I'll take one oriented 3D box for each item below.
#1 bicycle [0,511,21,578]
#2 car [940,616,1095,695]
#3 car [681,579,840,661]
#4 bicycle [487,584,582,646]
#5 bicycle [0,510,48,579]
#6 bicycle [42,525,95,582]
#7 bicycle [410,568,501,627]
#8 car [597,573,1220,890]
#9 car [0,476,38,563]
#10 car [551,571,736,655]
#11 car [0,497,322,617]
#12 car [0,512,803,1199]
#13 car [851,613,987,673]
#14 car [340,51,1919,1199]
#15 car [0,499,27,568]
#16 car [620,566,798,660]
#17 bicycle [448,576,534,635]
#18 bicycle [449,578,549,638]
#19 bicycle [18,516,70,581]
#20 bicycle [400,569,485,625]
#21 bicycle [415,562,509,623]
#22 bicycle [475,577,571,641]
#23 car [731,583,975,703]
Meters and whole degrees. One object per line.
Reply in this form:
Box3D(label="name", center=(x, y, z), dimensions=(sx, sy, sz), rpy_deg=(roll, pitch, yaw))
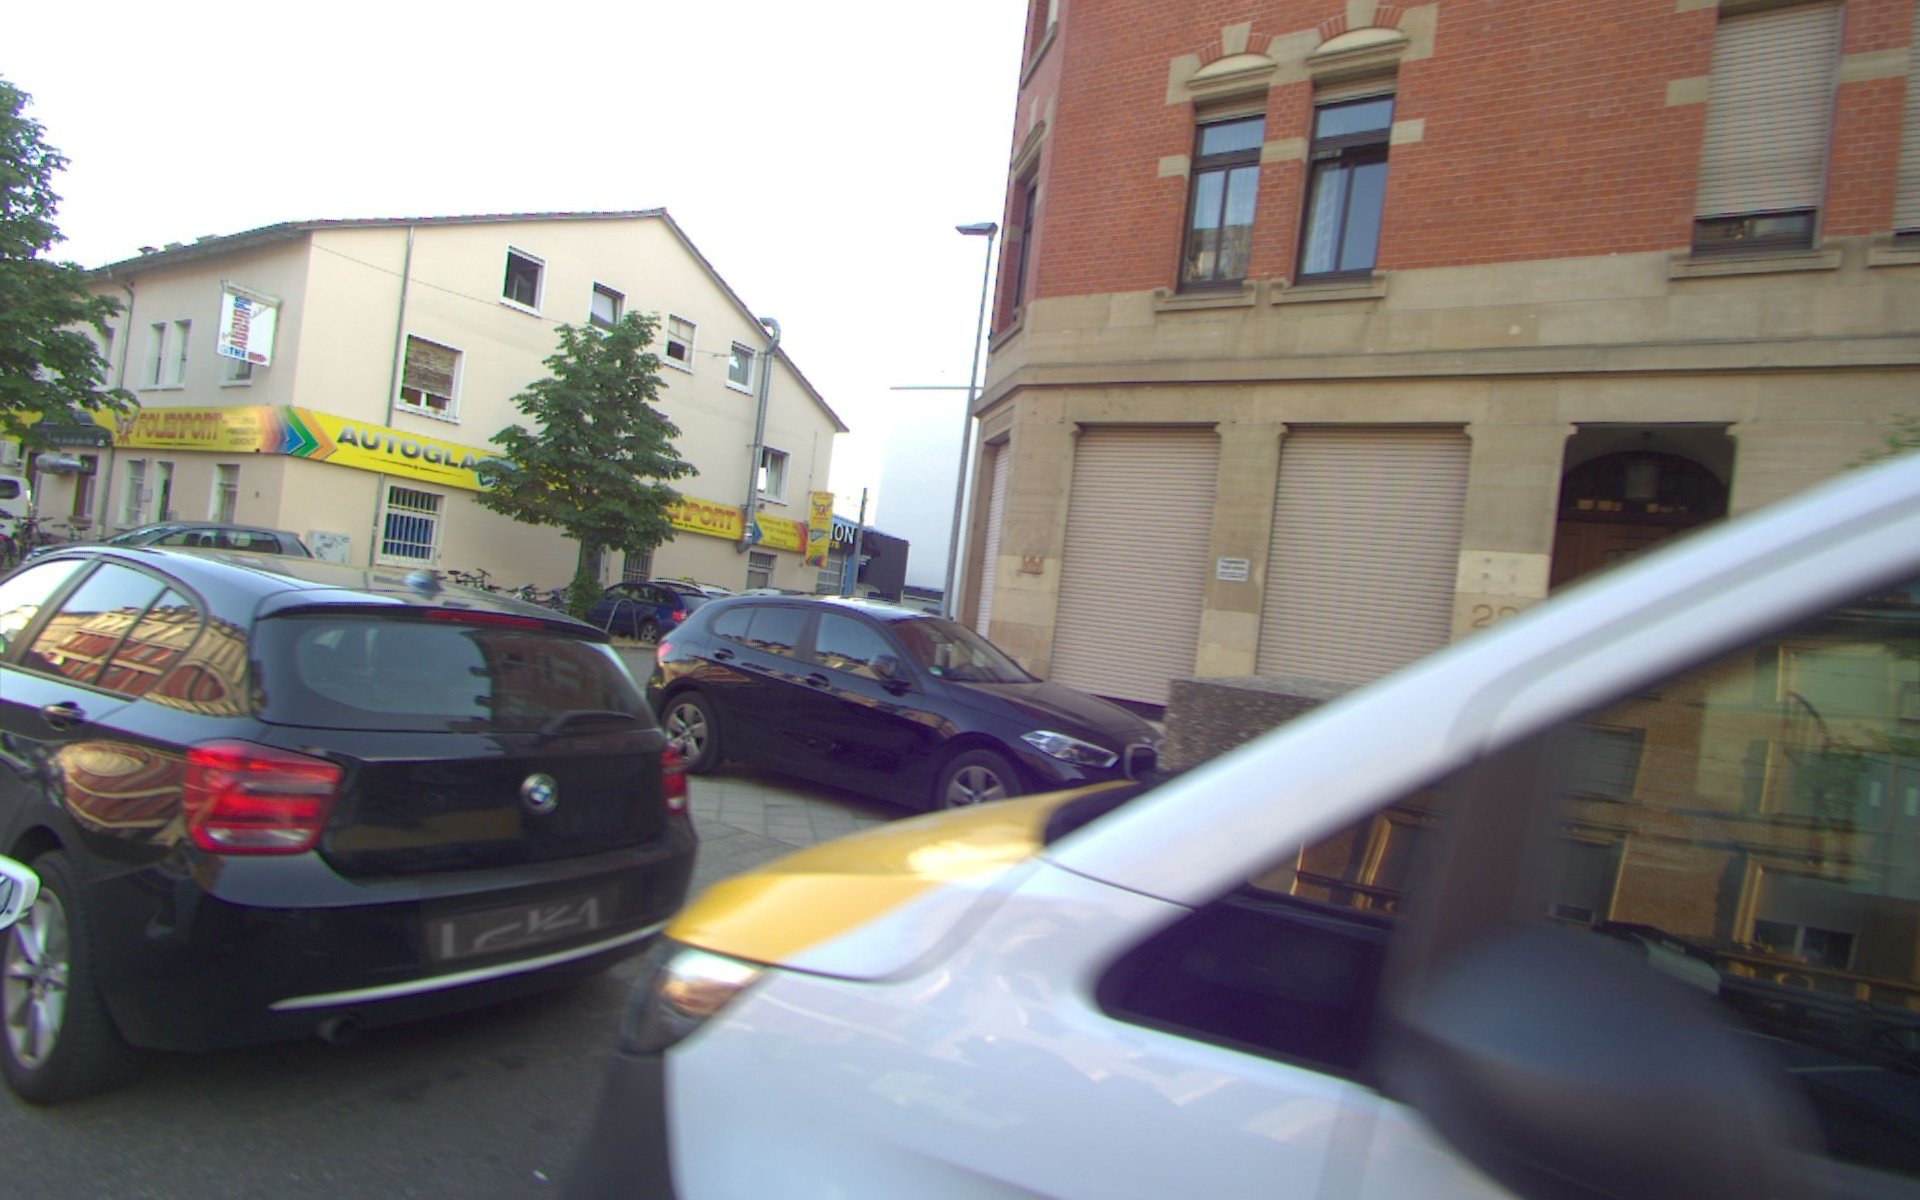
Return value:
Box3D(label="bicycle", center=(-18.645, -1.107, 19.359), dimensions=(1.457, 1.215, 0.445), rpy_deg=(7, 1, 33))
Box3D(label="car", center=(1.421, 1.321, 22.985), dimensions=(1.641, 1.494, 4.325), rpy_deg=(5, -2, 31))
Box3D(label="car", center=(-5.795, 0.559, 29.125), dimensions=(4.262, 1.924, 1.875), rpy_deg=(5, -1, 32))
Box3D(label="bicycle", center=(-8.690, 0.329, 20.623), dimensions=(0.420, 1.087, 1.856), rpy_deg=(9, -1, 25))
Box3D(label="bicycle", center=(-18.404, -1.097, 19.715), dimensions=(1.457, 1.215, 0.353), rpy_deg=(7, 1, 33))
Box3D(label="bicycle", center=(-18.107, -0.953, 20.429), dimensions=(1.457, 1.030, 0.388), rpy_deg=(7, 1, 33))
Box3D(label="bicycle", center=(-11.040, -0.035, 22.071), dimensions=(0.338, 1.082, 1.734), rpy_deg=(9, -1, 32))
Box3D(label="car", center=(-0.519, 0.760, 7.523), dimensions=(4.350, 1.442, 1.727), rpy_deg=(6, 1, 32))
Box3D(label="car", center=(-24.631, -2.115, 22.852), dimensions=(2.184, 2.008, 4.991), rpy_deg=(7, 1, 33))
Box3D(label="car", center=(-7.925, 0.307, 25.102), dimensions=(4.496, 1.527, 1.744), rpy_deg=(6, -1, 31))
Box3D(label="car", center=(-13.861, -0.678, 17.659), dimensions=(1.728, 1.533, 4.052), rpy_deg=(9, 1, 34))
Box3D(label="car", center=(-2.828, 0.511, 3.850), dimensions=(4.184, 1.440, 1.724), rpy_deg=(6, -2, 33))
Box3D(label="car", center=(-1.456, 1.499, 35.228), dimensions=(4.261, 1.660, 1.941), rpy_deg=(5, -1, 31))
Box3D(label="car", center=(1.689, 0.754, 1.017), dimensions=(4.999, 1.906, 1.896), rpy_deg=(6, -1, 32))
Box3D(label="car", center=(-22.523, -1.607, 21.133), dimensions=(1.738, 1.470, 3.922), rpy_deg=(7, 1, 30))
Box3D(label="car", center=(-6.787, 0.336, 27.033), dimensions=(4.501, 1.854, 1.875), rpy_deg=(8, 0, 32))
Box3D(label="bicycle", center=(-10.001, 0.133, 21.496), dimensions=(0.338, 1.053, 1.605), rpy_deg=(10, -1, 34))
Box3D(label="bicycle", center=(-9.638, 0.193, 21.108), dimensions=(0.421, 1.022, 1.852), rpy_deg=(10, -1, 34))
Box3D(label="bicycle", center=(-18.281, -1.034, 20.063), dimensions=(1.457, 1.157, 0.353), rpy_deg=(7, 1, 33))
Box3D(label="bicycle", center=(-11.382, -0.054, 22.174), dimensions=(0.338, 1.031, 1.605), rpy_deg=(9, -1, 32))
Box3D(label="bicycle", center=(-11.375, -0.152, 23.042), dimensions=(0.338, 1.162, 1.863), rpy_deg=(10, -1, 34))
Box3D(label="bicycle", center=(-9.011, 0.212, 20.827), dimensions=(0.420, 1.141, 1.925), rpy_deg=(8, -1, 25))
Box3D(label="car", center=(-1.674, 0.804, 17.345), dimensions=(1.847, 1.692, 4.325), rpy_deg=(5, -2, 31))
